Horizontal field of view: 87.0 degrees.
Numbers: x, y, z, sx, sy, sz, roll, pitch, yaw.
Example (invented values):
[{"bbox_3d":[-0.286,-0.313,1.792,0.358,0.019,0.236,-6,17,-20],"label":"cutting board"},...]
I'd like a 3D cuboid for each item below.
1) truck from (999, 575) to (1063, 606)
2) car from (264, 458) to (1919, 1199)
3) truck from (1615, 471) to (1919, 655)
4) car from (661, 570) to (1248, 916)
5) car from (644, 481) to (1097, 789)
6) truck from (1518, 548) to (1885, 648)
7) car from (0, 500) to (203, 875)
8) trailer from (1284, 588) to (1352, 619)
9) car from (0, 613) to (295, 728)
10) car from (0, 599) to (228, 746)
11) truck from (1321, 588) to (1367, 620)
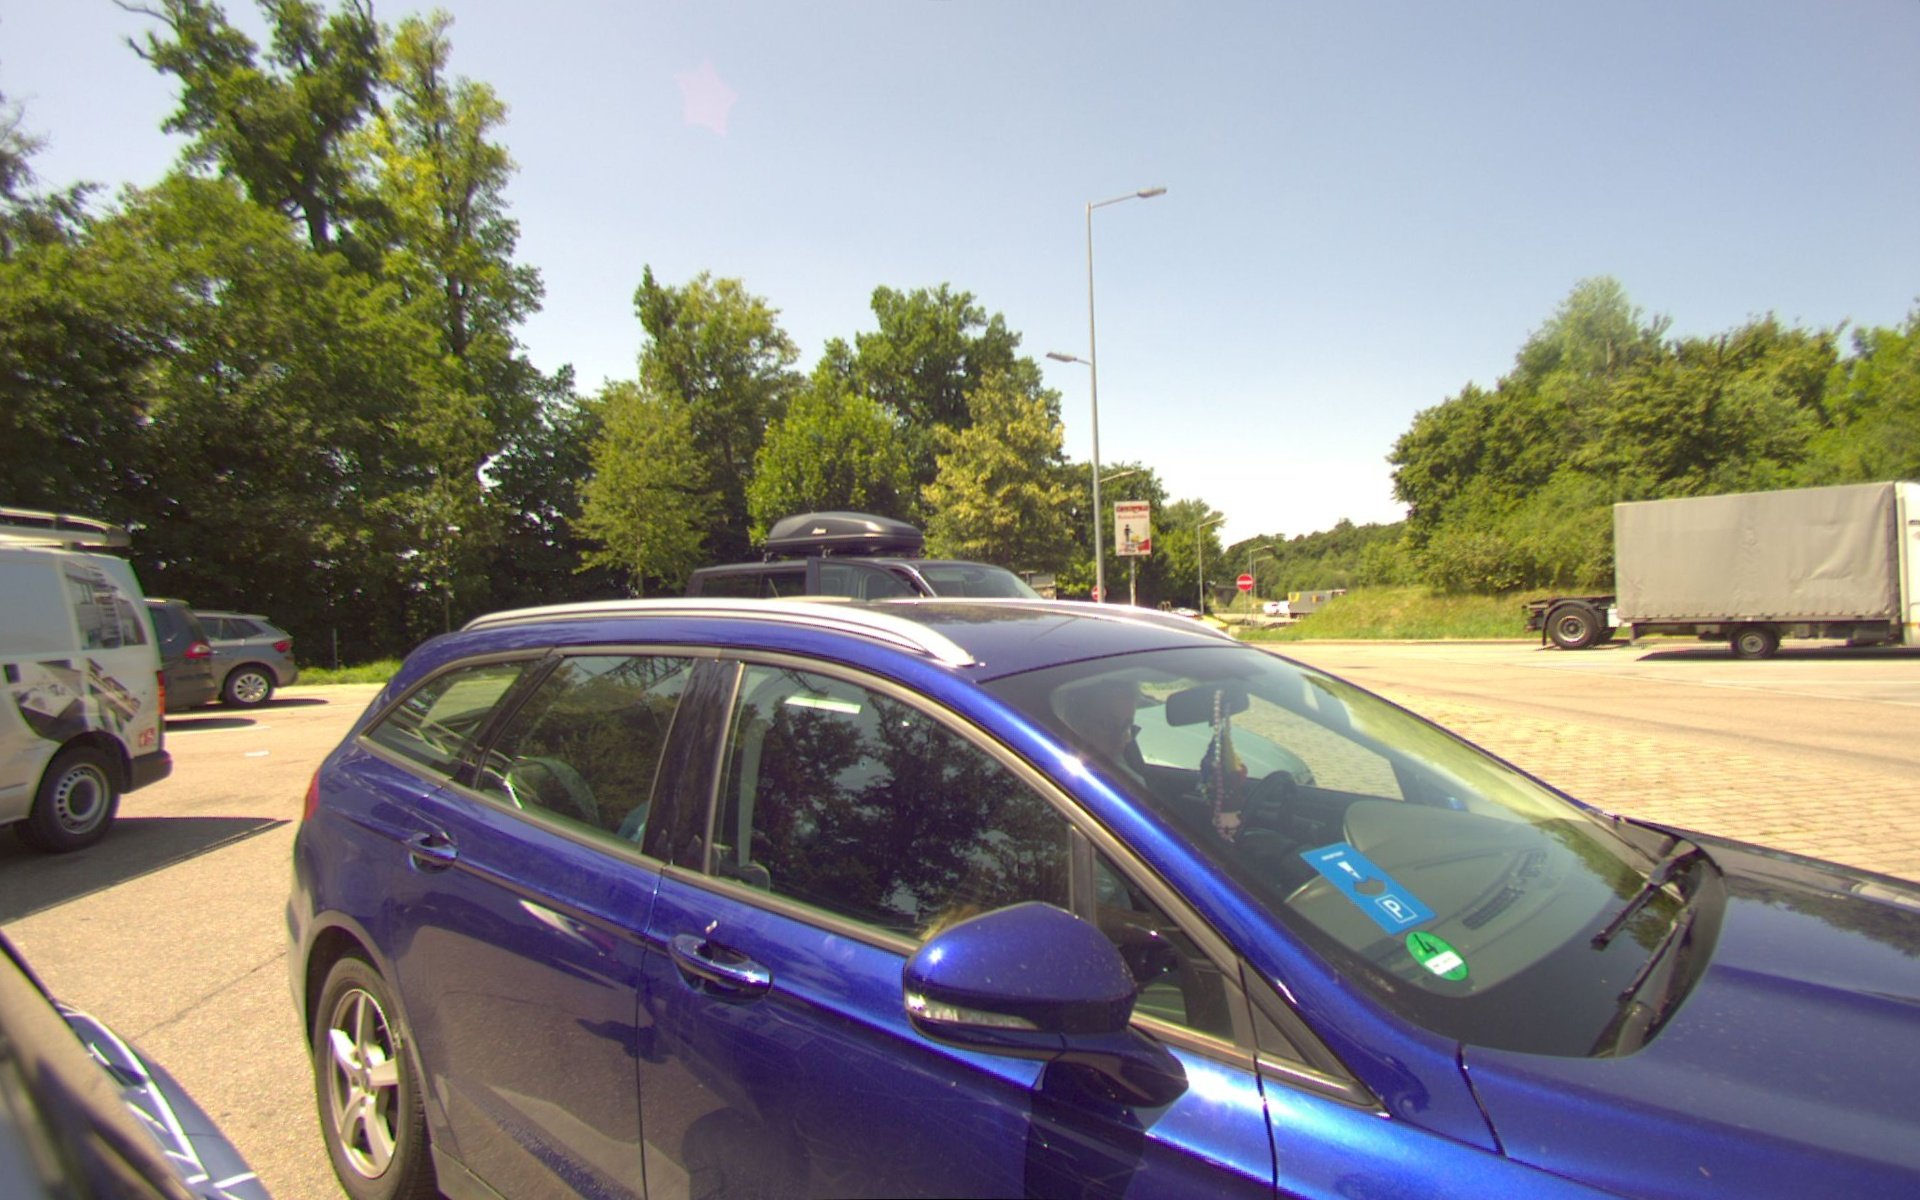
[{"bbox_3d":[3.419,-0.454,48.814,2.866,1.386,1.158,-2,-1,22],"label":"truck"},{"bbox_3d":[0.239,0.653,2.078,4.411,1.429,1.721,-2,-1,41],"label":"car"},{"bbox_3d":[16.656,-0.621,18.794,7.253,3.175,2.148,-2,-1,41],"label":"truck"},{"bbox_3d":[-0.187,0.604,5.550,3.112,1.370,1.326,-2,-1,41],"label":"car"},{"bbox_3d":[-0.958,0.328,9.603,4.076,2.336,1.767,-2,-1,35],"label":"car"},{"bbox_3d":[16.859,0.052,23.435,6.613,2.029,1.973,-2,-1,41],"label":"truck"},{"bbox_3d":[-6.258,0.481,4.683,1.816,2.121,5.440,0,-1,-5],"label":"car"},{"bbox_3d":[49.587,0.600,140.785,2.459,4.009,14.765,0,-1,-7],"label":"trailer"},{"bbox_3d":[-12.548,0.996,15.683,3.535,1.513,1.708,-1,0,-42],"label":"car"},{"bbox_3d":[-11.597,0.865,12.596,1.755,1.701,3.798,-2,-1,45],"label":"car"},{"bbox_3d":[50.460,0.555,133.356,2.459,4.009,7.317,0,-1,-7],"label":"truck"}]
